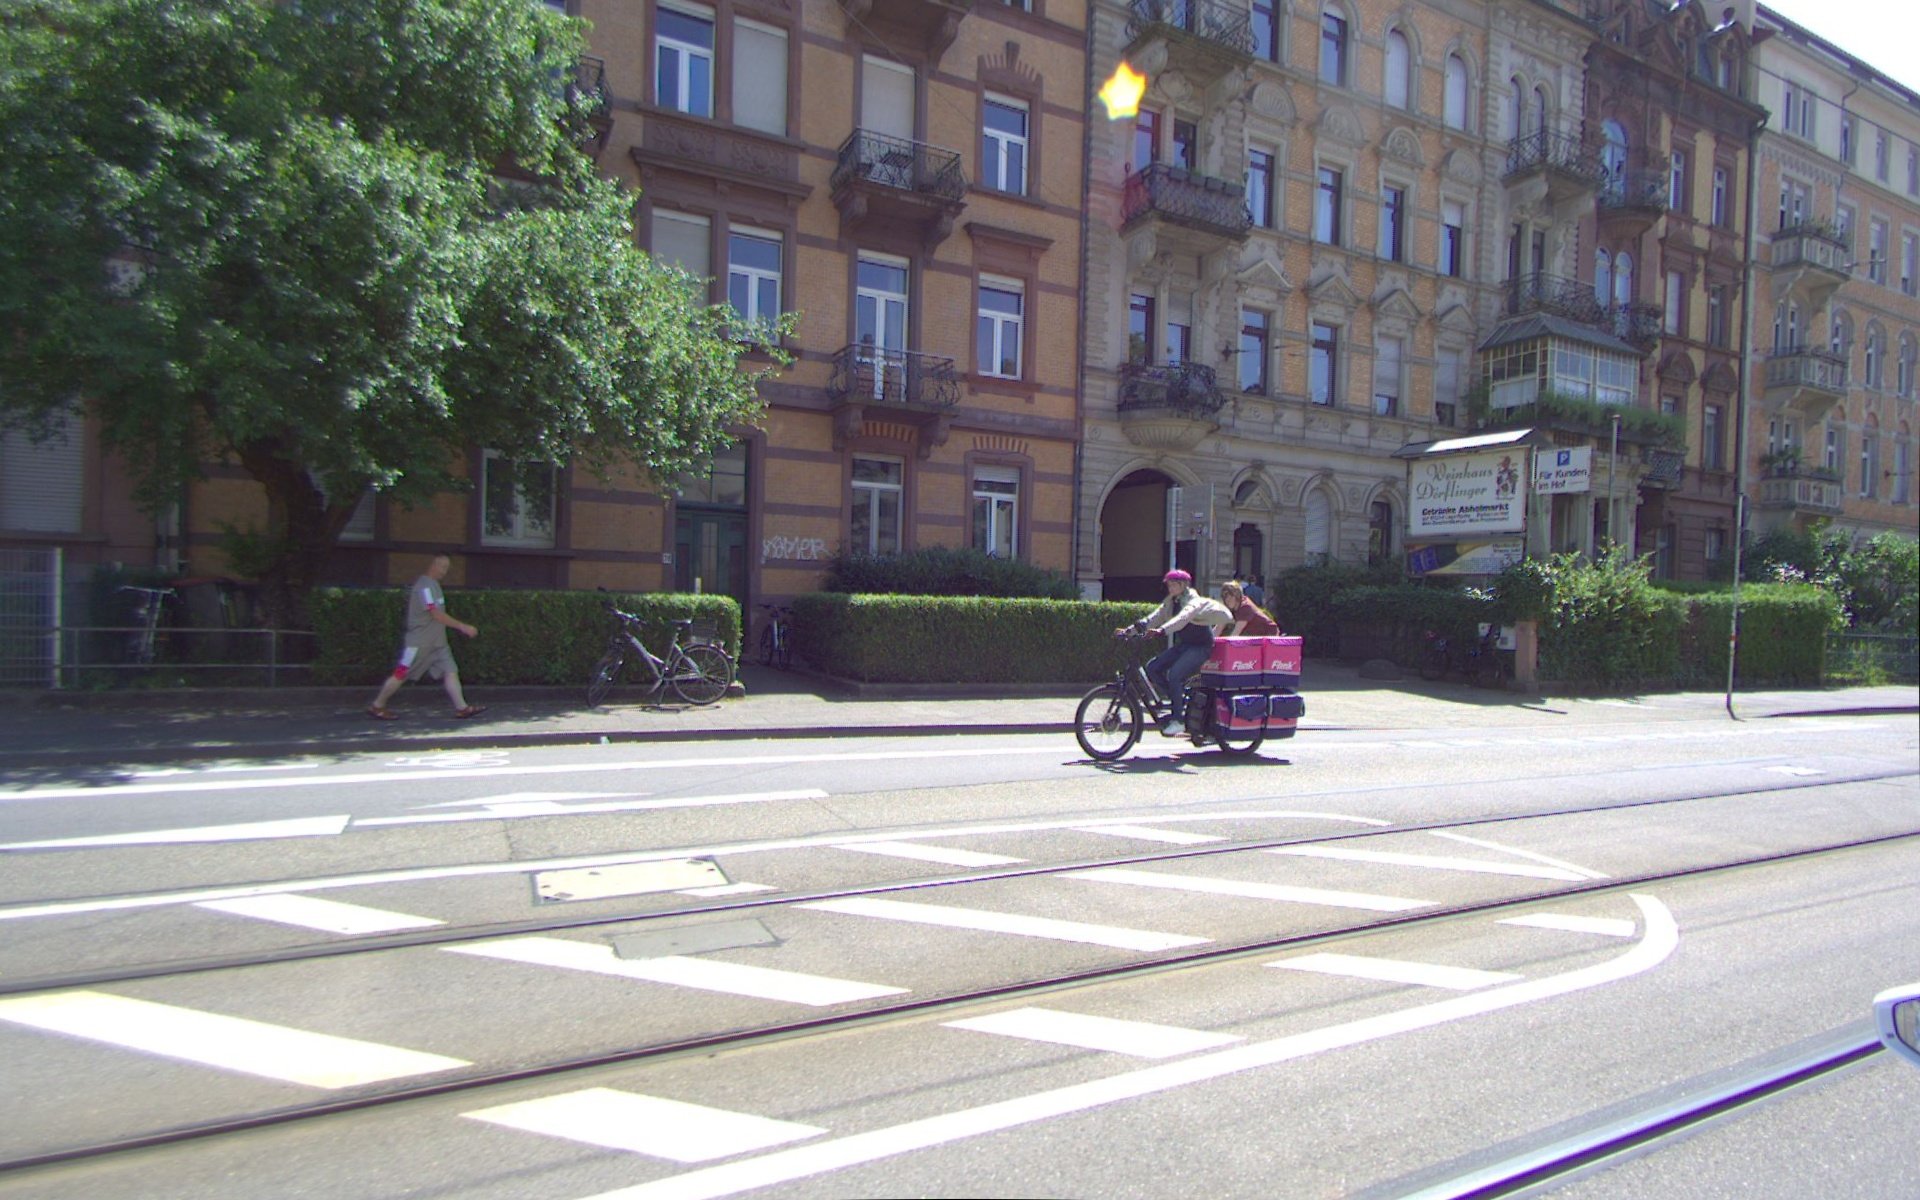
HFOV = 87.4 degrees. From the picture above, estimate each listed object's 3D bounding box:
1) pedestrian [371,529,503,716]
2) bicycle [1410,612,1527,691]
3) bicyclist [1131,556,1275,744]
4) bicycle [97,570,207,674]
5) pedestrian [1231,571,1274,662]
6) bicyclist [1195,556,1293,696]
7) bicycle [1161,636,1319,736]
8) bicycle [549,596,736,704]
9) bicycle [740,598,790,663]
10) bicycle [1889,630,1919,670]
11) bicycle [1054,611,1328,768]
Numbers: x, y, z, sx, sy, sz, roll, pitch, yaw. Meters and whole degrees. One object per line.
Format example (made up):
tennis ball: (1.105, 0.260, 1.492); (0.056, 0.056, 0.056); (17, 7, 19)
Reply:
pedestrian: (-5.084, 0.213, 9.832); (0.998, 1.723, 0.870); (2, 1, -21)
bicycle: (9.273, 0.917, 18.406); (0.561, 1.244, 1.862); (2, 3, -29)
bicyclist: (2.254, 0.445, 9.376); (0.968, 1.651, 0.804); (2, 1, -26)
bicycle: (-8.456, 0.199, 10.567); (0.488, 1.009, 1.641); (2, 1, -25)
pedestrian: (6.312, 0.345, 21.708); (0.800, 1.882, 0.879); (2, 1, 15)
bicyclist: (3.245, 0.292, 11.481); (0.880, 1.536, 0.560); (2, 1, -26)
bicycle: (3.217, 0.967, 11.486); (1.805, 1.052, 0.565); (2, 1, -27)
bicycle: (-3.550, 0.557, 11.250); (1.904, 1.108, 0.636); (2, 3, -24)
bicycle: (-3.227, 0.487, 16.548); (0.434, 0.996, 1.579); (2, 1, -24)
bicycle: (26.627, 1.394, 27.611); (0.488, 1.057, 1.505); (2, 1, -25)
bicycle: (2.180, 0.795, 9.355); (2.517, 1.288, 0.804); (2, 1, -27)
